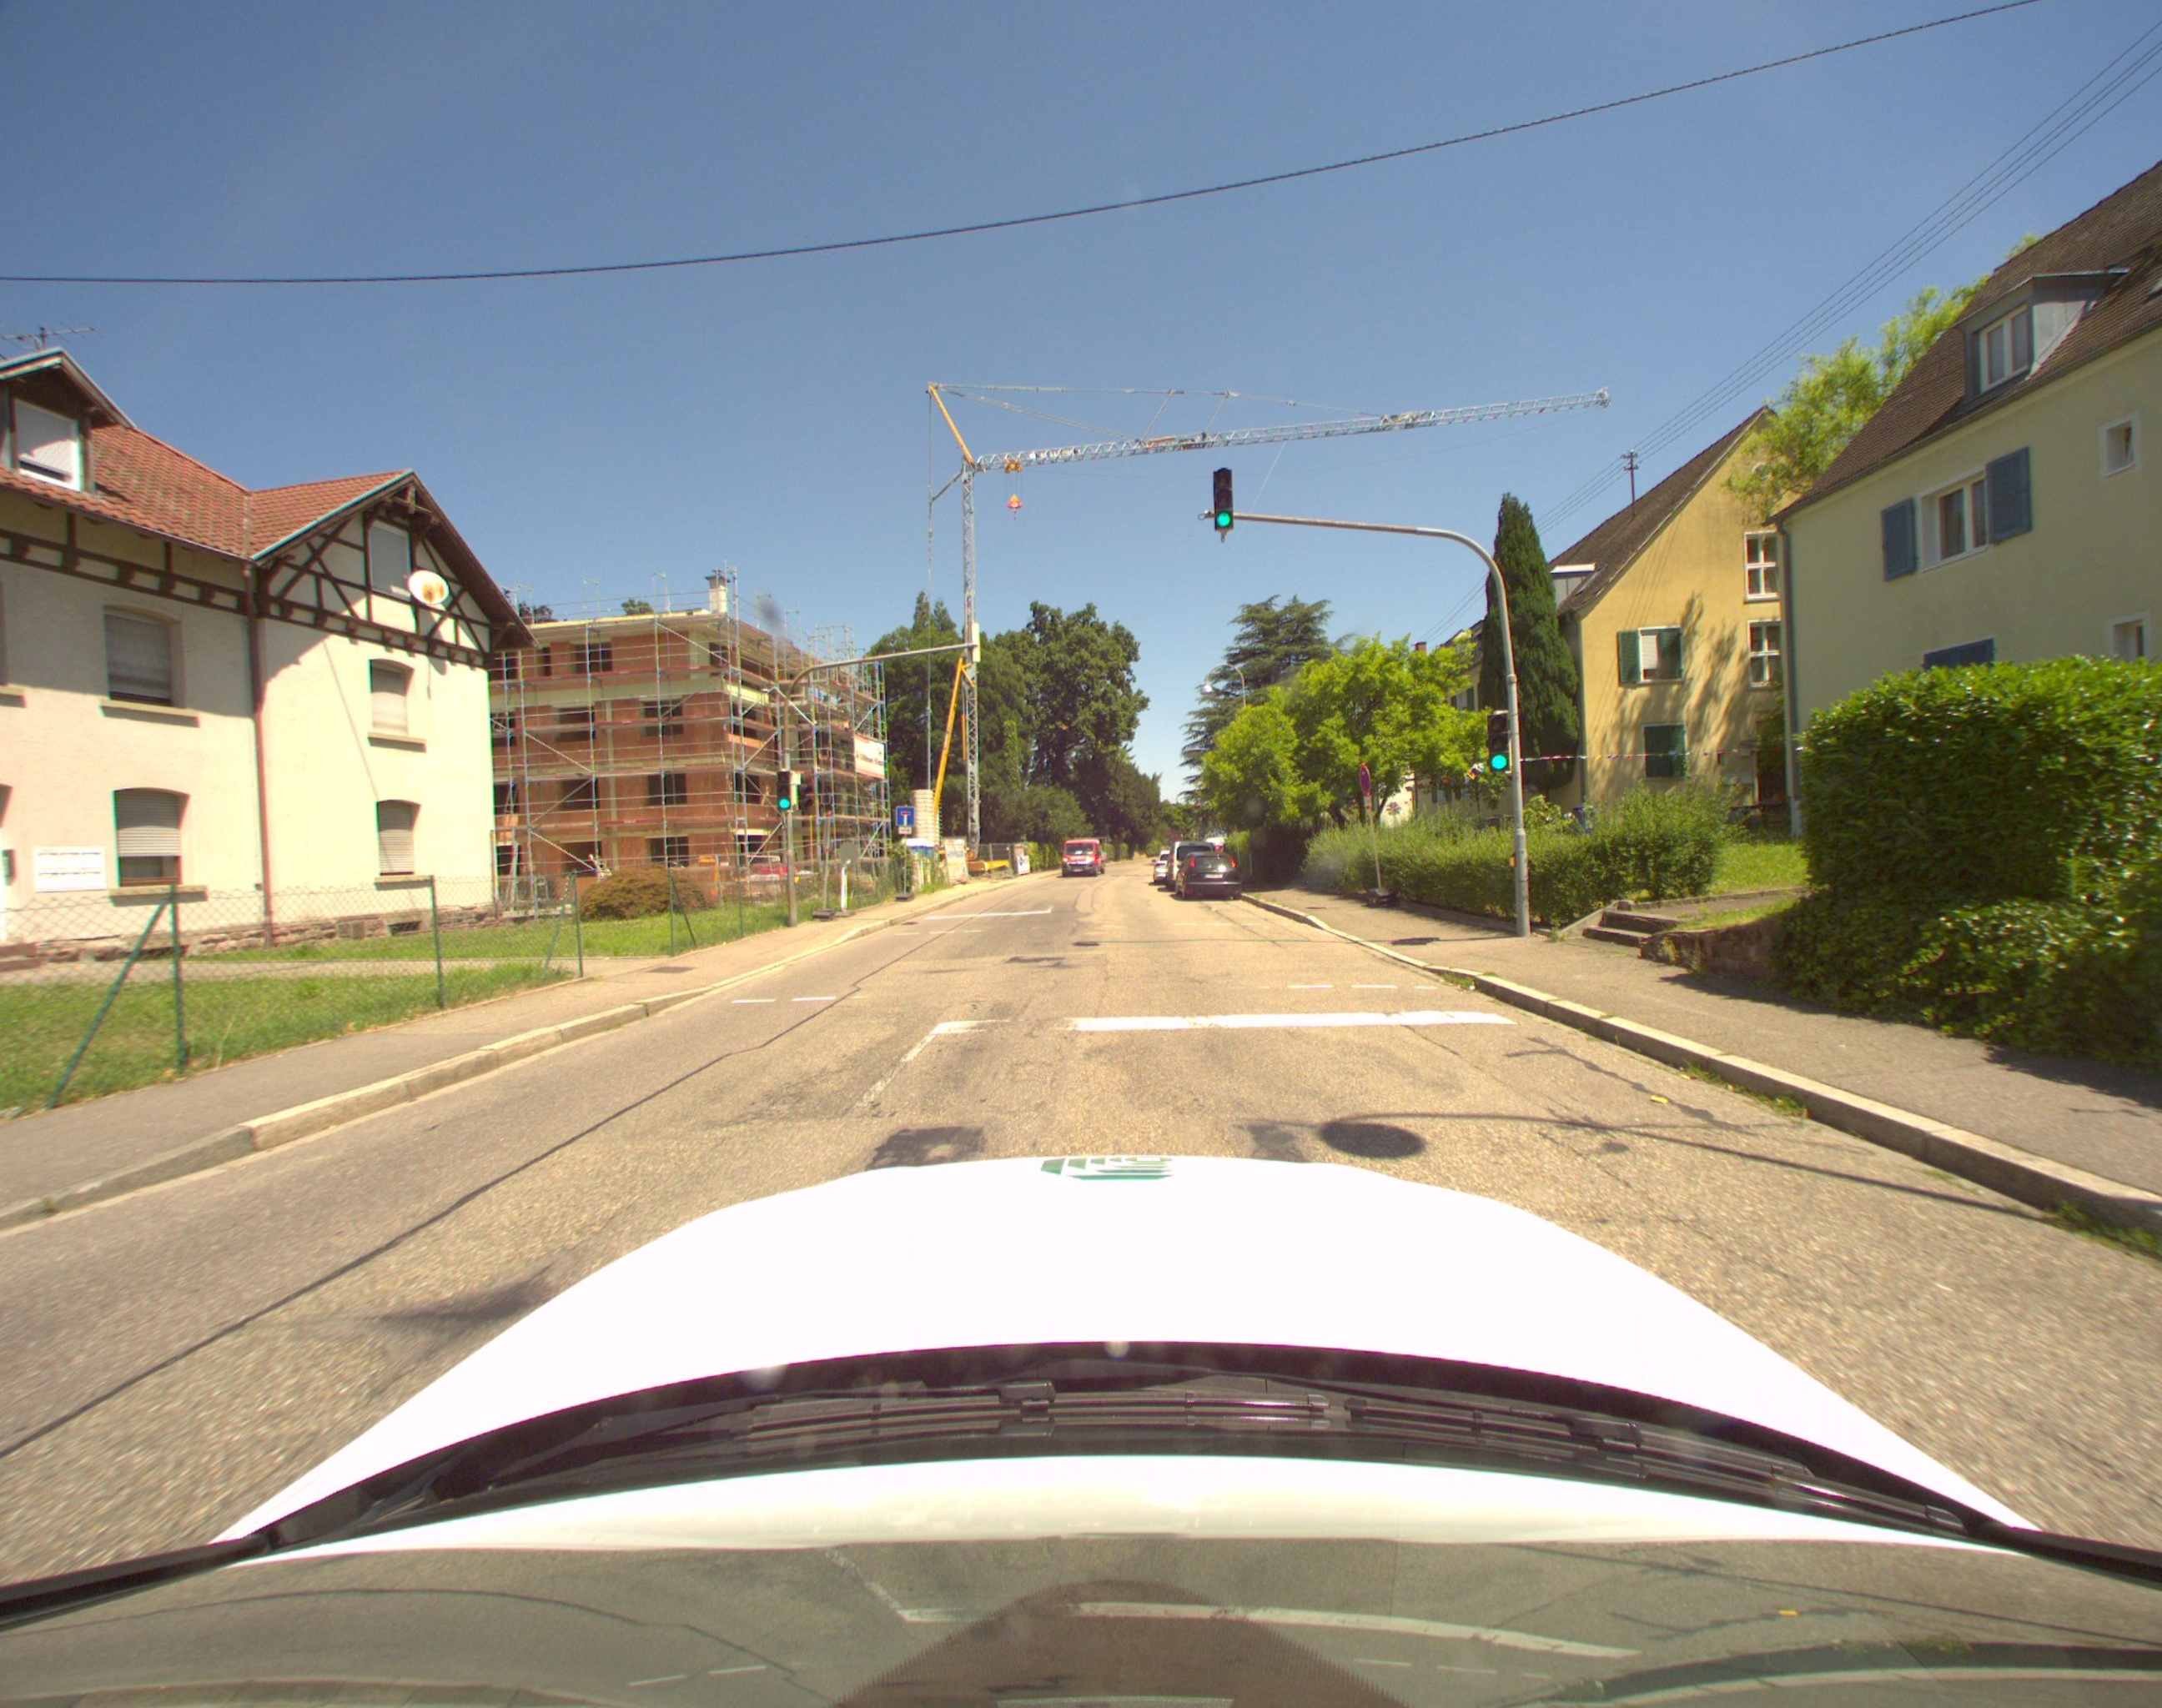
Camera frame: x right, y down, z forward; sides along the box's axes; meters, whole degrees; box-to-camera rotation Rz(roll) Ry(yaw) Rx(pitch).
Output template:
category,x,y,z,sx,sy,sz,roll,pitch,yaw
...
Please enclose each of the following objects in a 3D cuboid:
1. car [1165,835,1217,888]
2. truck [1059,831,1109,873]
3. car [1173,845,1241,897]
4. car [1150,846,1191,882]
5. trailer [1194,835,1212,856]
category,x,y,z,sx,sy,sz,roll,pitch,yaw
car,4.003,0.235,30.086,1.654,1.803,4.208,1,0,4
truck,0.296,-0.178,49.663,2.115,2.338,6.450,-1,1,8
car,3.817,0.465,25.232,1.622,1.463,4.019,1,1,2
car,3.894,0.400,35.362,1.653,1.435,4.136,0,0,6
trailer,12.663,-0.893,84.230,1.669,2.067,3.720,0,1,11
